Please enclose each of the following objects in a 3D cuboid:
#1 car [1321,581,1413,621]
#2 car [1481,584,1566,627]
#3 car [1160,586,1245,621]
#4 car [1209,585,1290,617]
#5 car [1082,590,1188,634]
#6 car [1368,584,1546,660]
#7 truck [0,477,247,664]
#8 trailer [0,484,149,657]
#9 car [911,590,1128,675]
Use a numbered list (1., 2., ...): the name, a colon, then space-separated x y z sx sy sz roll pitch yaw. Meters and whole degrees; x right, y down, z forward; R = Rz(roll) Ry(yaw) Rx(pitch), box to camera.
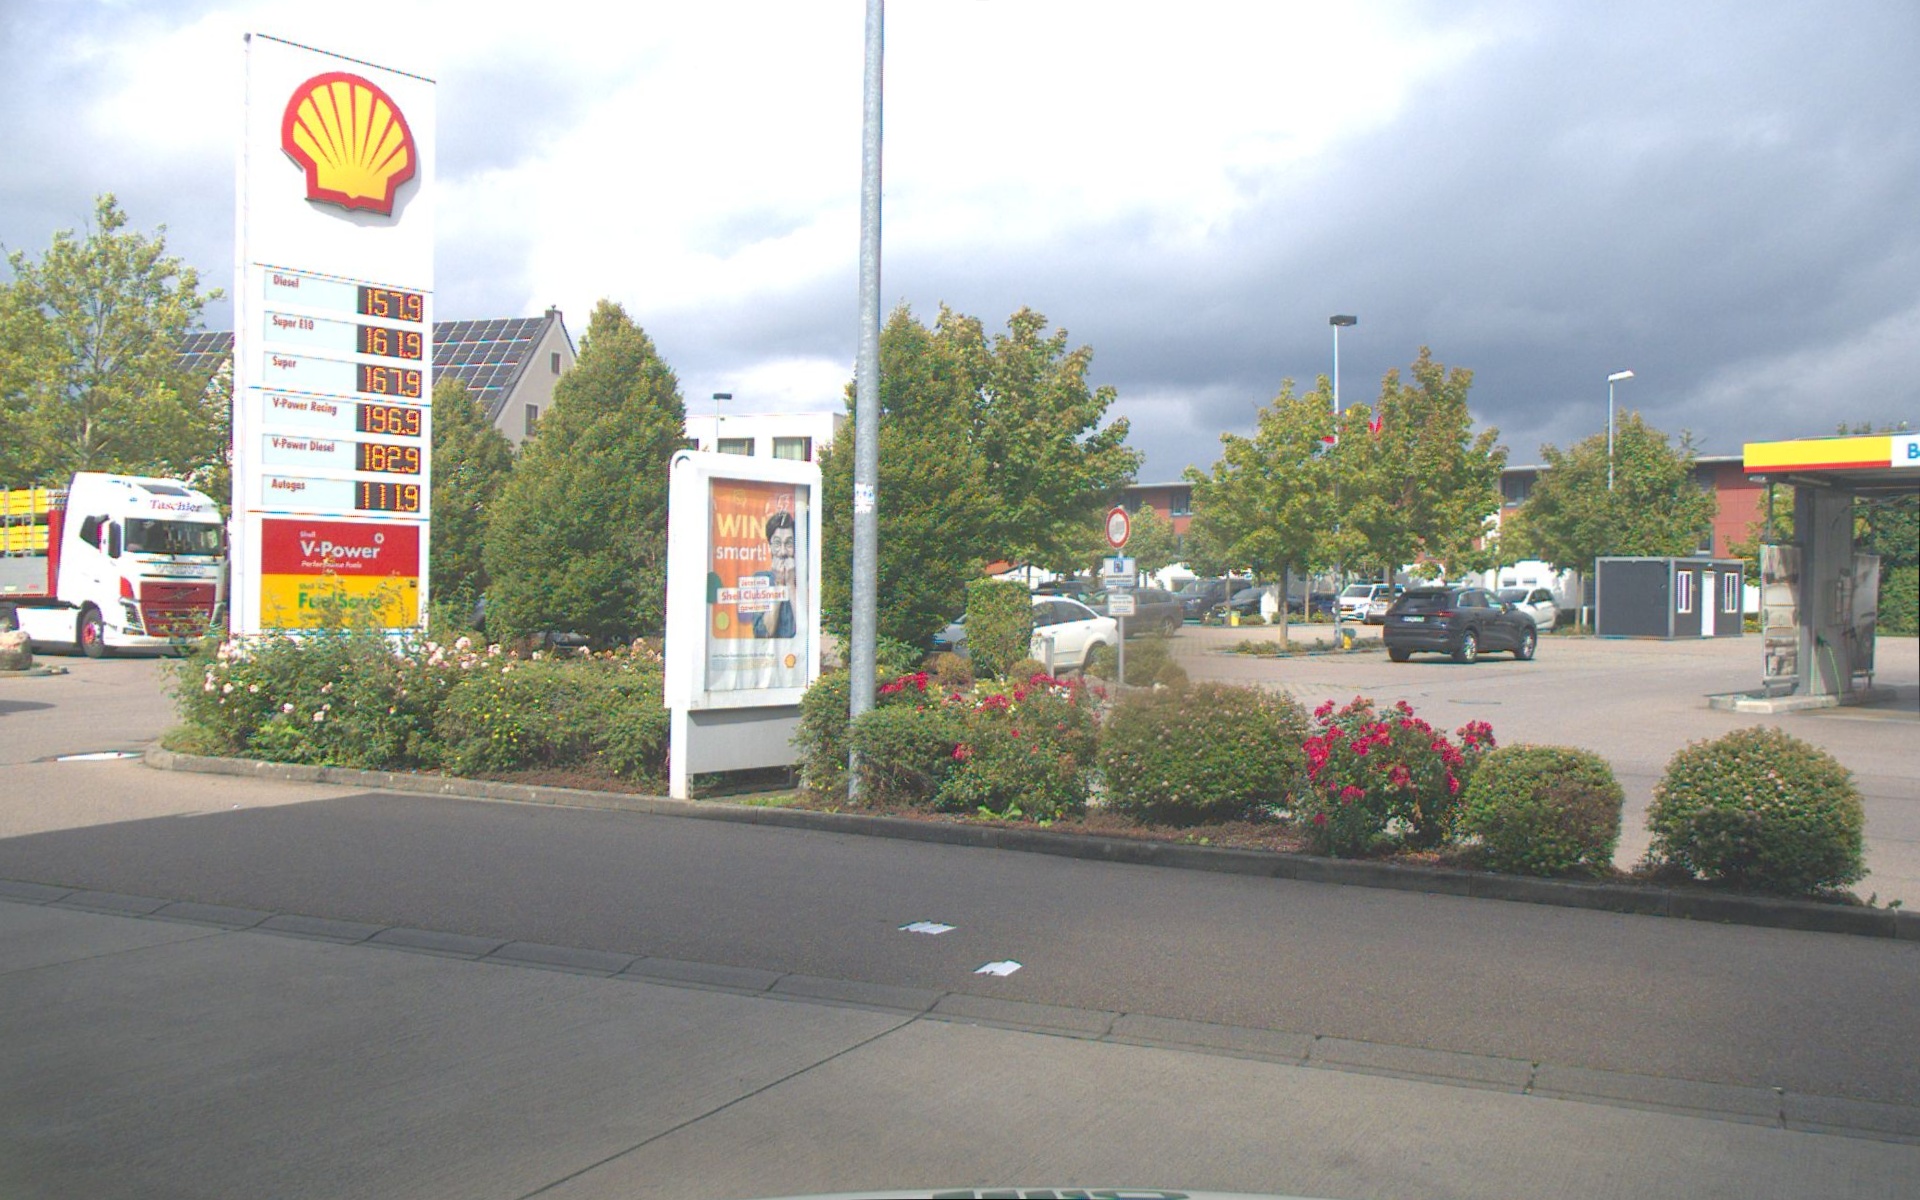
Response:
1. car: 19.935 0.042 80.986 4.839 1.865 2.150 1 0 -44
2. car: 18.025 0.175 52.846 3.080 1.330 1.346 1 -1 -45
3. car: 9.830 0.149 66.973 3.364 1.343 1.719 1 0 -45
4. car: 11.431 0.046 65.251 3.393 1.199 1.462 1 0 -45
5. car: 5.295 0.370 49.834 3.203 1.249 1.481 1 0 -45
6. car: 11.146 0.490 36.934 4.467 1.575 1.856 1 0 -44
7. truck: -19.049 -0.636 37.287 5.796 3.913 2.733 1 0 34
8. trailer: -25.094 -0.723 41.364 12.449 3.842 2.731 1 0 34
9. car: 1.148 0.578 29.978 1.348 1.428 4.312 1 -1 45
